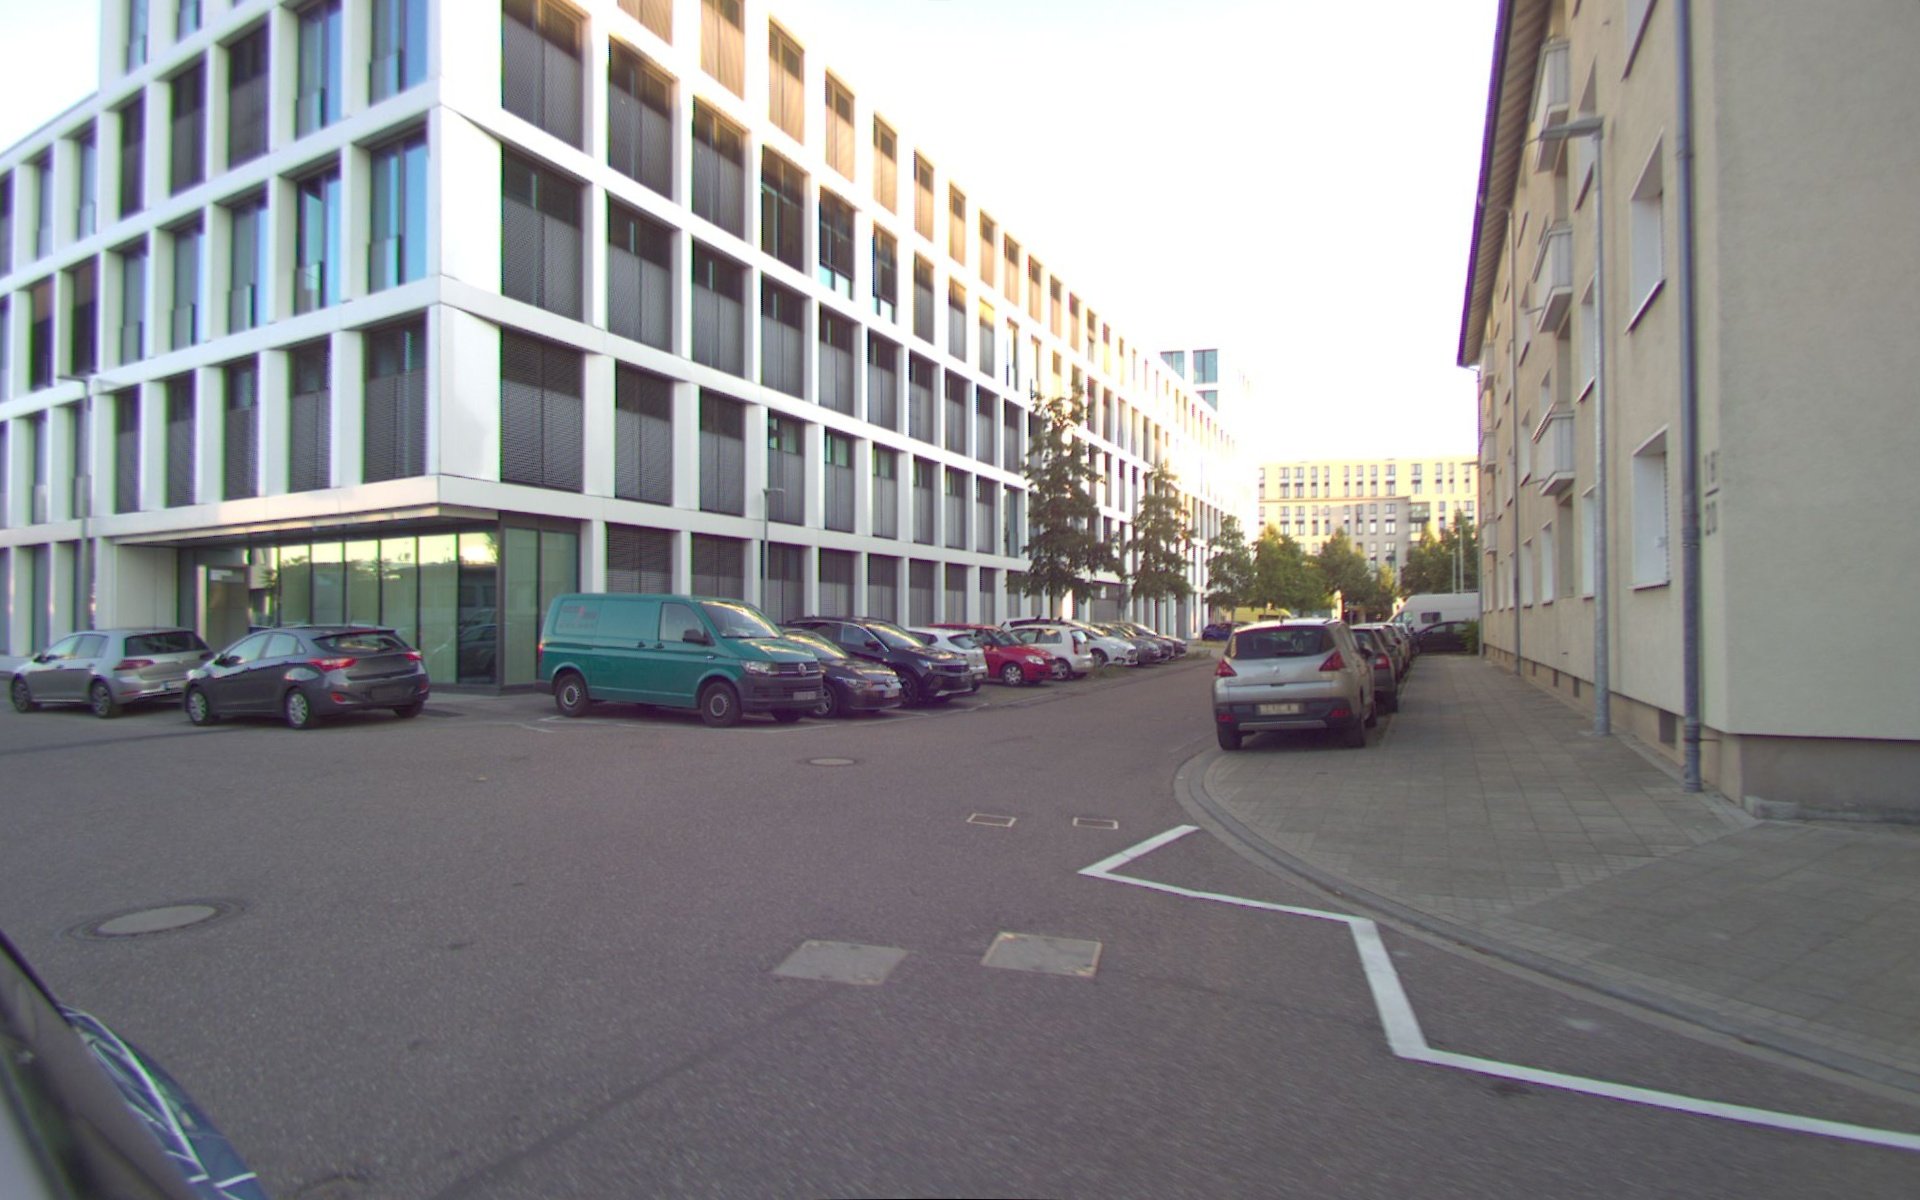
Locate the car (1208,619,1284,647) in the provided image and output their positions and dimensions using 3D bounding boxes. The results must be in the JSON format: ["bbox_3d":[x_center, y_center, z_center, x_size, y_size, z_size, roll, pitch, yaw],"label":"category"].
[{"bbox_3d":[17.469,1.998,61.797,4.202,1.521,1.719,1,0,27],"label":"car"}]

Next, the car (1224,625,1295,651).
[{"bbox_3d":[19.506,2.427,65.865,4.202,1.521,1.719,1,0,27],"label":"car"}]

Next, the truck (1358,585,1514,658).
[{"bbox_3d":[21.300,1.017,45.572,5.966,2.743,2.319,-6,-4,25],"label":"truck"}]

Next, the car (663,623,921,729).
[{"bbox_3d":[-3.010,1.254,17.975,4.309,1.561,1.769,1,0,27],"label":"car"}]

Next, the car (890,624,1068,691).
[{"bbox_3d":[0.474,1.406,25.669,4.178,1.467,1.719,1,0,27],"label":"car"}]

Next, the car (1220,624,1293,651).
[{"bbox_3d":[18.707,2.359,63.939,4.202,1.521,1.719,1,0,27],"label":"car"}]

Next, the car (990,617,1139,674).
[{"bbox_3d":[3.349,1.420,32.490,4.442,1.624,1.719,1,0,27],"label":"car"}]

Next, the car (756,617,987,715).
[{"bbox_3d":[-1.785,1.217,20.094,4.309,1.672,1.719,1,0,27],"label":"car"}]

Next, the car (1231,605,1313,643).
[{"bbox_3d":[22.389,1.718,72.729,5.482,2.554,1.721,1,0,23],"label":"car"}]

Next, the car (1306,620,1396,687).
[{"bbox_3d":[10.297,1.361,26.509,1.870,1.495,3.915,-6,-4,24],"label":"car"}]

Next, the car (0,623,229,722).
[{"bbox_3d":[-15.181,1.232,17.949,4.159,1.490,1.702,-1,2,24],"label":"car"}]

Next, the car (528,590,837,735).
[{"bbox_3d":[-4.373,0.888,15.820,4.664,1.995,1.788,0,-1,26],"label":"car"}]

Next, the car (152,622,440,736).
[{"bbox_3d":[-10.151,1.128,15.432,4.308,1.490,1.769,-1,0,27],"label":"car"}]

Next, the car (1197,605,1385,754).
[{"bbox_3d":[4.594,0.996,13.660,1.870,1.630,3.986,-6,-4,24],"label":"car"}]

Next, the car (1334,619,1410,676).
[{"bbox_3d":[12.457,1.402,30.486,1.870,1.495,3.915,-6,-4,24],"label":"car"}]

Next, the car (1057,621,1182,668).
[{"bbox_3d":[5.802,1.595,36.910,4.202,1.521,1.719,1,0,27],"label":"car"}]

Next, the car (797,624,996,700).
[{"bbox_3d":[-1.446,1.335,22.811,4.178,1.467,1.719,1,0,27],"label":"car"}]

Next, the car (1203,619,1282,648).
[{"bbox_3d":[16.503,1.953,59.114,4.202,1.521,1.719,1,0,27],"label":"car"}]

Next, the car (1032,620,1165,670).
[{"bbox_3d":[4.729,1.503,34.602,4.202,1.521,1.719,1,0,27],"label":"car"}]

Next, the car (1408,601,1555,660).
[{"bbox_3d":[20.870,1.244,40.758,4.973,1.928,2.319,-6,-4,25],"label":"car"}]

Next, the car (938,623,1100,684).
[{"bbox_3d":[1.632,1.440,28.134,4.178,1.467,1.719,1,0,27],"label":"car"}]

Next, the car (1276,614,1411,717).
[{"bbox_3d":[6.719,1.106,17.868,1.867,1.512,3.992,-5,-3,20],"label":"car"}]

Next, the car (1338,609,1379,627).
[{"bbox_3d":[65.824,2.982,167.340,5.942,2.867,2.328,-1,-1,14],"label":"car"}]

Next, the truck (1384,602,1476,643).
[{"bbox_3d":[35.200,1.723,75.977,5.966,2.517,2.319,-6,-4,25],"label":"truck"}]
